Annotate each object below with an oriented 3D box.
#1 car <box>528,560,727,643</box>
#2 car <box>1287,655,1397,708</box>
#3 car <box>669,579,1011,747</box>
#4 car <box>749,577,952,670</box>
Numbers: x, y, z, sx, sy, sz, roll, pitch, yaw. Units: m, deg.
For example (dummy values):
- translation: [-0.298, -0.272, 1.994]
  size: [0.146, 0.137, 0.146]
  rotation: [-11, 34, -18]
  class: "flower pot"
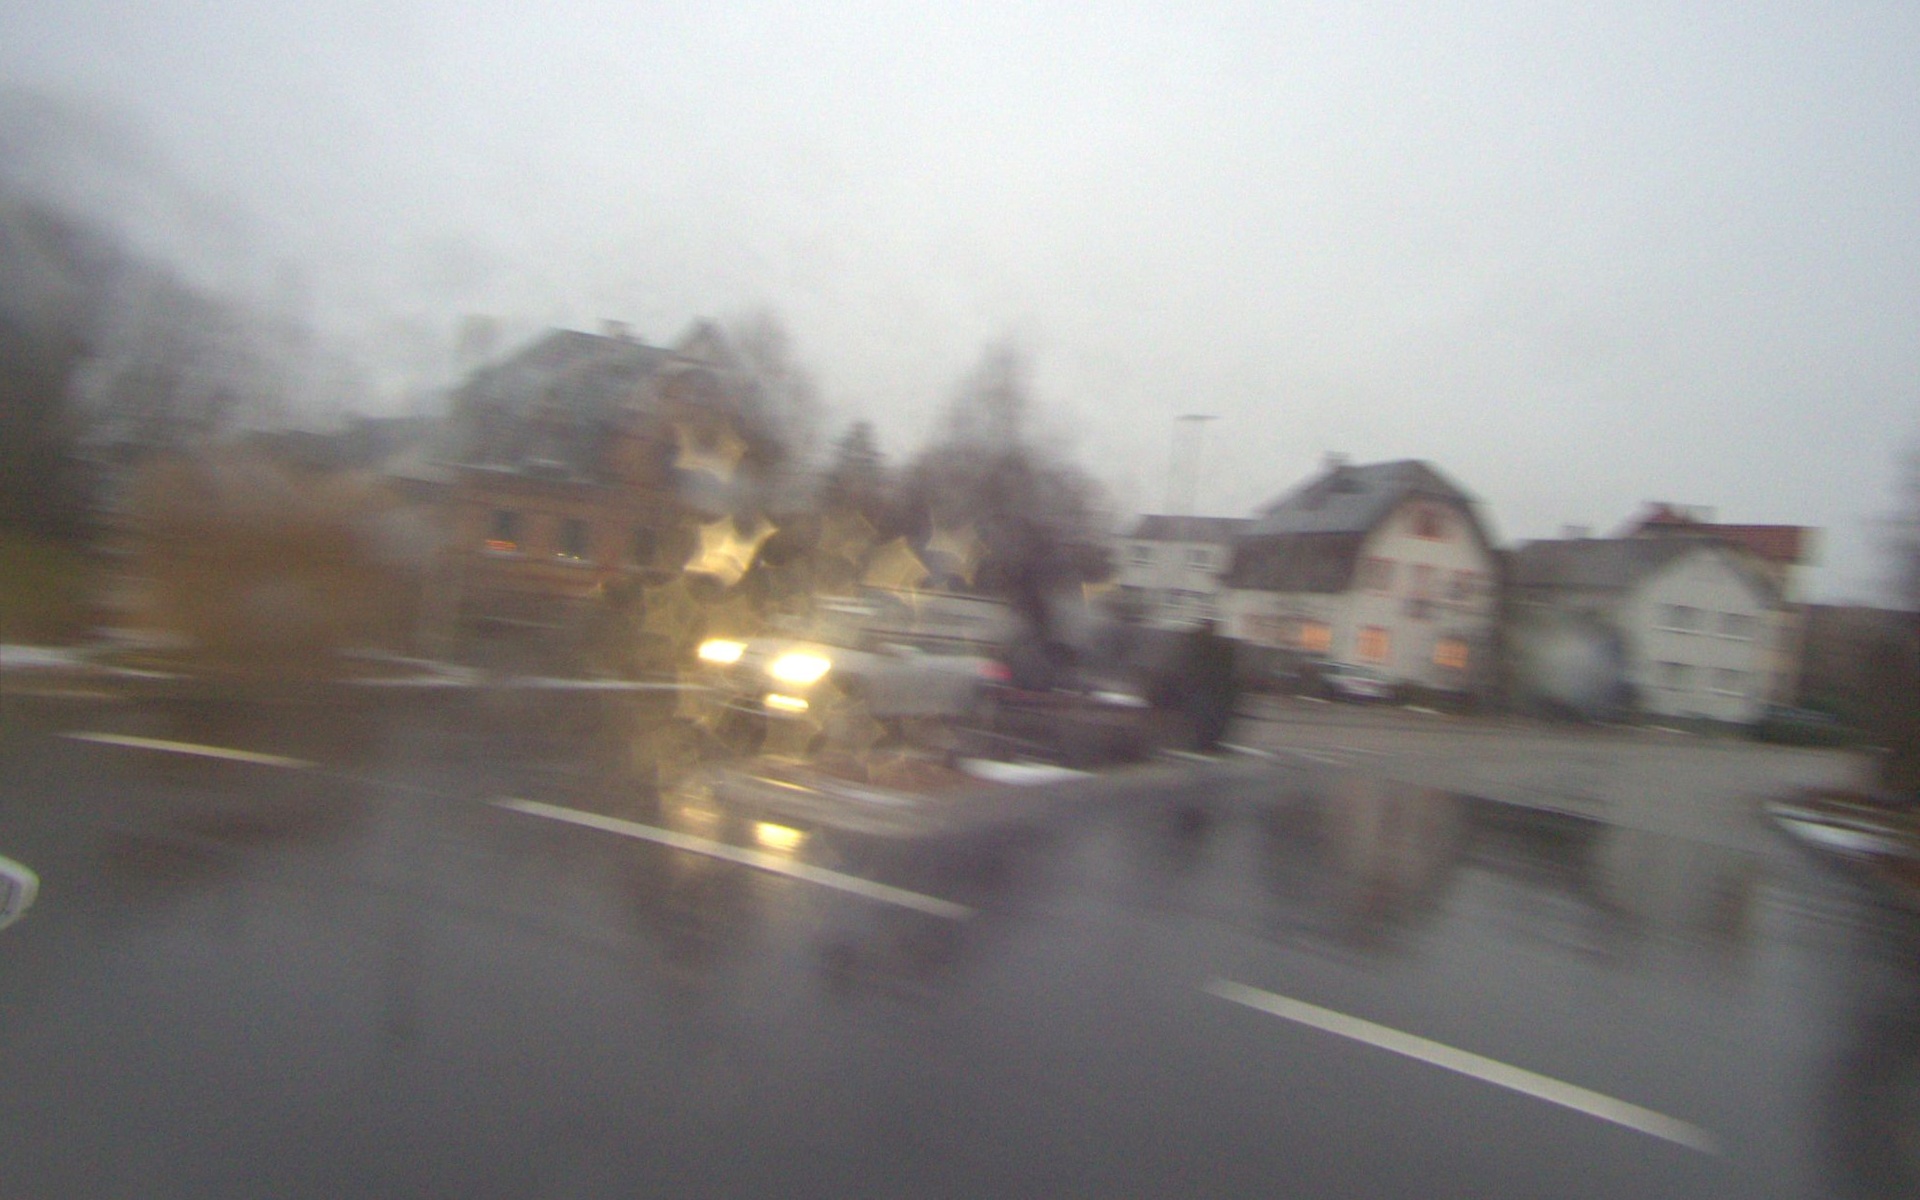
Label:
- translation: [-9.801, 0.037, 29.751]
  size: [5.256, 1.890, 2.355]
  rotation: [5, 2, -22]
  class: "car"
- translation: [15.231, 3.244, 40.359]
  size: [1.887, 1.506, 3.980]
  rotation: [5, 2, -20]
  class: "car"
- translation: [-1.209, 0.761, 11.498]
  size: [1.638, 1.510, 3.698]
  rotation: [6, -2, 38]
  class: "car"
- translation: [-3.049, 0.665, 28.084]
  size: [5.174, 1.941, 1.930]
  rotation: [7, -1, -21]
  class: "car"
